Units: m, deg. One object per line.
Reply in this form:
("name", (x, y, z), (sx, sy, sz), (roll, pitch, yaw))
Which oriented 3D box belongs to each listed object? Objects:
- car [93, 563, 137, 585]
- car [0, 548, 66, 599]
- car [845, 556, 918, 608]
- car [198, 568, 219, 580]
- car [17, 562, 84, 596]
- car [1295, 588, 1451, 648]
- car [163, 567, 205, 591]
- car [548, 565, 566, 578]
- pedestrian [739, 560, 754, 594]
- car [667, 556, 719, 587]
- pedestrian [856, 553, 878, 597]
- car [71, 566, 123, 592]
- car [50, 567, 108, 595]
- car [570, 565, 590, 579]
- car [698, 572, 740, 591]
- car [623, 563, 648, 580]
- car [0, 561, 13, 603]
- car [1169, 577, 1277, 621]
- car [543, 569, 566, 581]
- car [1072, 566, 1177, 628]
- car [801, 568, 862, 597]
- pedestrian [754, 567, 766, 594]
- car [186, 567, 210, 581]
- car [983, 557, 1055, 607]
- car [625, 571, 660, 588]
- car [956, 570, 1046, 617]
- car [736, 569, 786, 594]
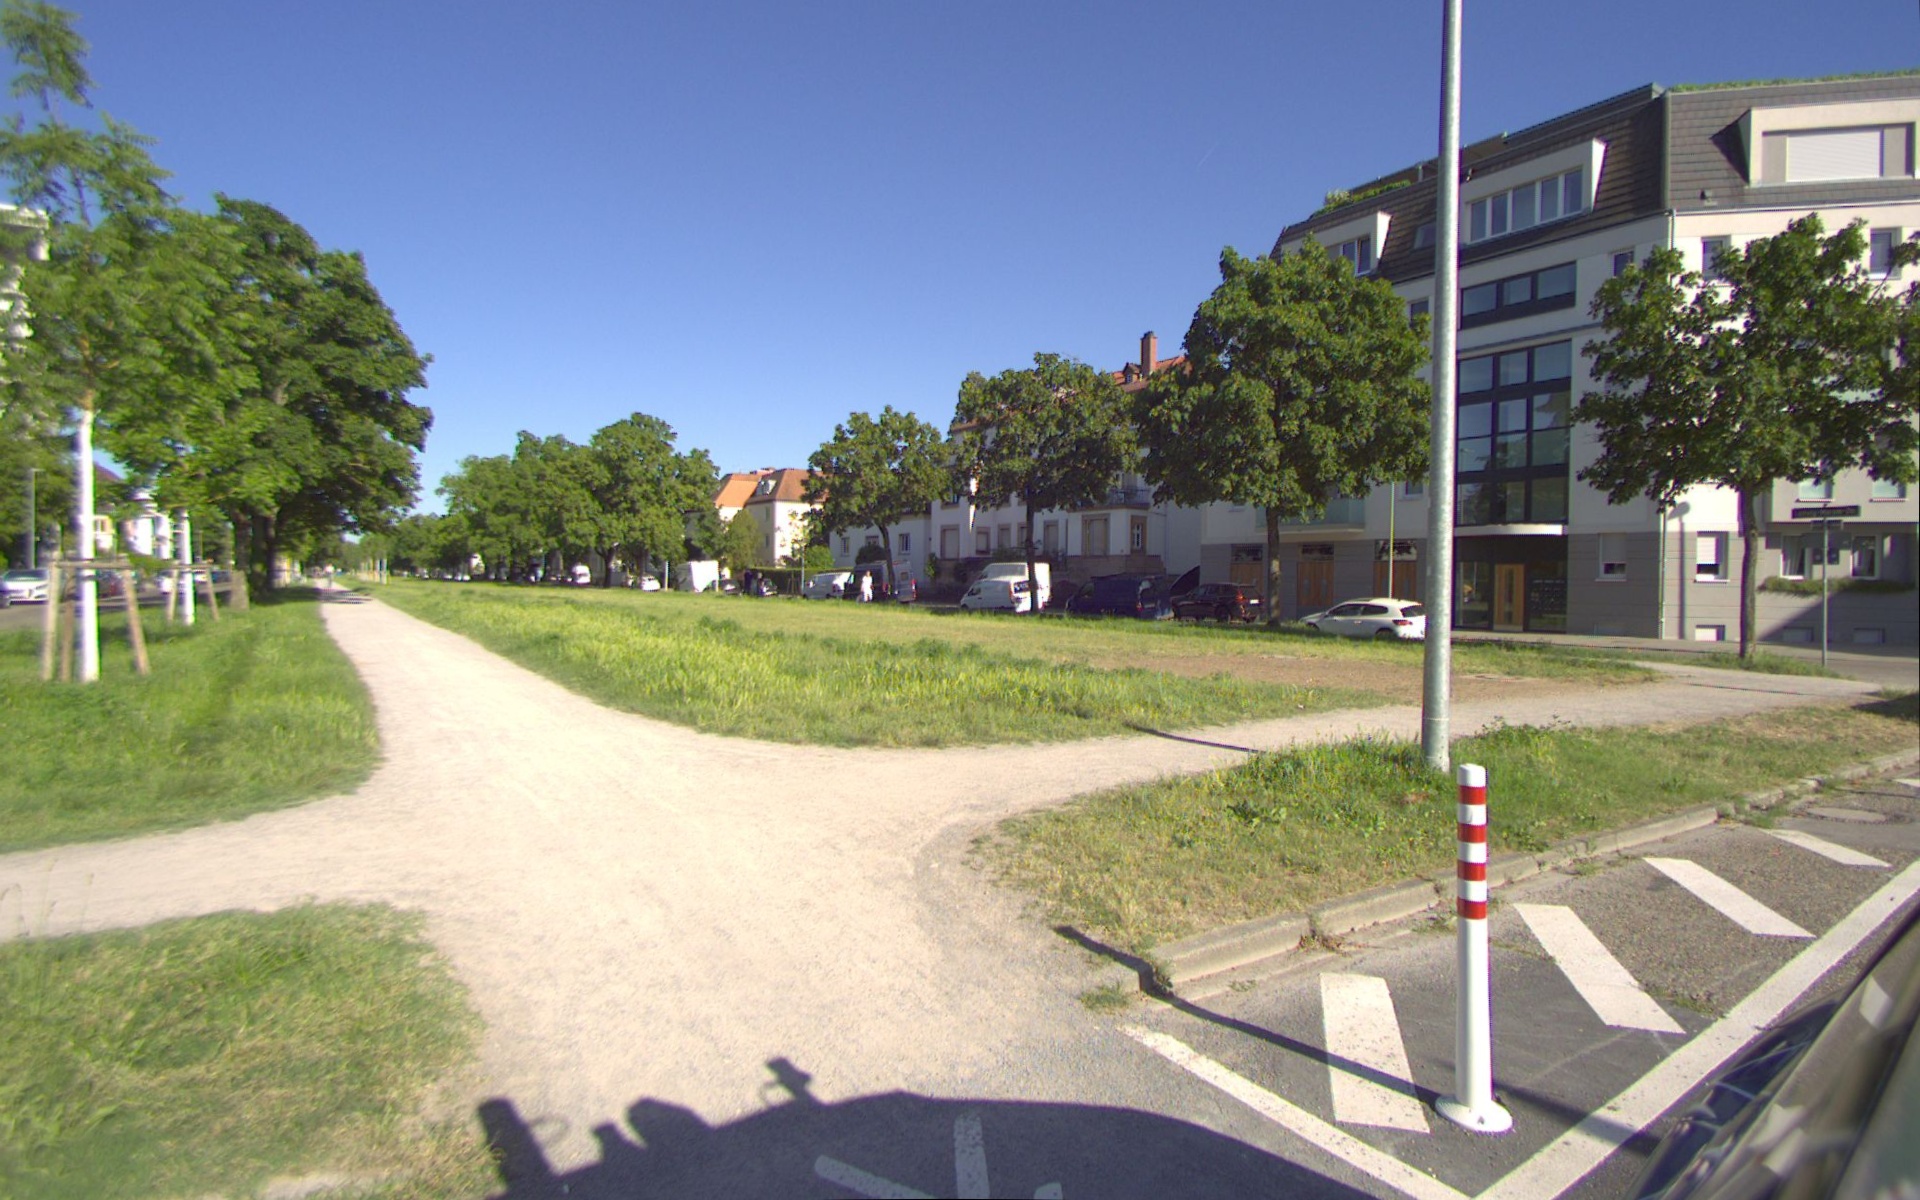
("car", (-54.585, -1.674, 65.455), (1.688, 1.358, 3.812), (0, 1, -33))
("car", (-39.157, -1.138, 42.428), (1.835, 2.039, 4.259), (0, 1, -33))
("car", (-4.339, -1.027, 55.606), (2.151, 2.615, 4.292), (-5, 4, -32))
("car", (-87.334, -2.991, 117.627), (1.688, 1.358, 3.812), (0, 2, -33))
("car", (-41.835, -0.992, 46.633), (1.688, 1.517, 3.812), (0, 1, -33))
("car", (12.095, 0.466, 29.879), (1.707, 1.450, 3.997), (-5, 4, -33))
("car", (-47.119, -1.279, 61.530), (1.688, 1.358, 3.812), (0, 2, -33))
("car", (-62.257, -4.384, 156.310), (1.829, 1.868, 3.998), (0, 1, -32))
("pedestrian", (-12.130, -1.322, 57.538), (0.632, 1.900, 0.629), (0, 1, -34))
("car", (-21.854, -2.332, 82.579), (2.501, 2.363, 5.925), (0, 1, -32))
("pedestrian", (-4.095, -1.105, 44.485), (0.710, 1.900, 0.629), (0, 1, -34))
("car", (-47.936, -1.171, 56.287), (1.688, 1.358, 3.812), (0, 1, -33))
("car", (-45.051, -0.989, 51.826), (1.688, 1.358, 3.812), (0, 1, -33))
("car", (-54.657, -4.011, 145.534), (1.829, 1.868, 3.998), (0, 1, -32))
("car", (-18.350, -1.429, 76.965), (1.897, 1.361, 4.113), (0, 2, -32))
("car", (-38.086, -3.344, 118.816), (1.829, 1.868, 3.998), (0, 2, -32))
("car", (-34.082, -0.612, 34.643), (1.688, 1.459, 4.143), (0, 1, -33))
("car", (10.953, -0.088, 42.430), (1.859, 1.703, 4.292), (-1, 2, -32))
("car", (-53.885, -3.333, 134.364), (2.040, 1.484, 4.732), (0, 2, -32))
("car", (6.243, -0.180, 38.765), (1.750, 2.108, 3.998), (-5, 4, -32))
("car", (-7.853, -1.082, 61.518), (2.045, 1.618, 4.292), (0, 2, -32))
("pedestrian", (-11.417, -1.106, 57.785), (0.487, 1.524, 0.535), (1, 1, -33))
("car", (-78.509, -2.685, 104.305), (1.688, 1.358, 3.812), (0, 2, -33))
("car", (3.161, -1.000, 54.735), (1.984, 2.580, 3.998), (-1, 2, -32))
("car", (-30.156, -1.965, 95.961), (2.040, 1.484, 4.732), (0, 2, -32))
("car", (1.785, -0.350, 45.753), (1.841, 1.906, 4.427), (-5, 4, -32))
("car", (-13.991, -1.300, 70.901), (2.045, 1.618, 4.292), (0, 2, -32))
